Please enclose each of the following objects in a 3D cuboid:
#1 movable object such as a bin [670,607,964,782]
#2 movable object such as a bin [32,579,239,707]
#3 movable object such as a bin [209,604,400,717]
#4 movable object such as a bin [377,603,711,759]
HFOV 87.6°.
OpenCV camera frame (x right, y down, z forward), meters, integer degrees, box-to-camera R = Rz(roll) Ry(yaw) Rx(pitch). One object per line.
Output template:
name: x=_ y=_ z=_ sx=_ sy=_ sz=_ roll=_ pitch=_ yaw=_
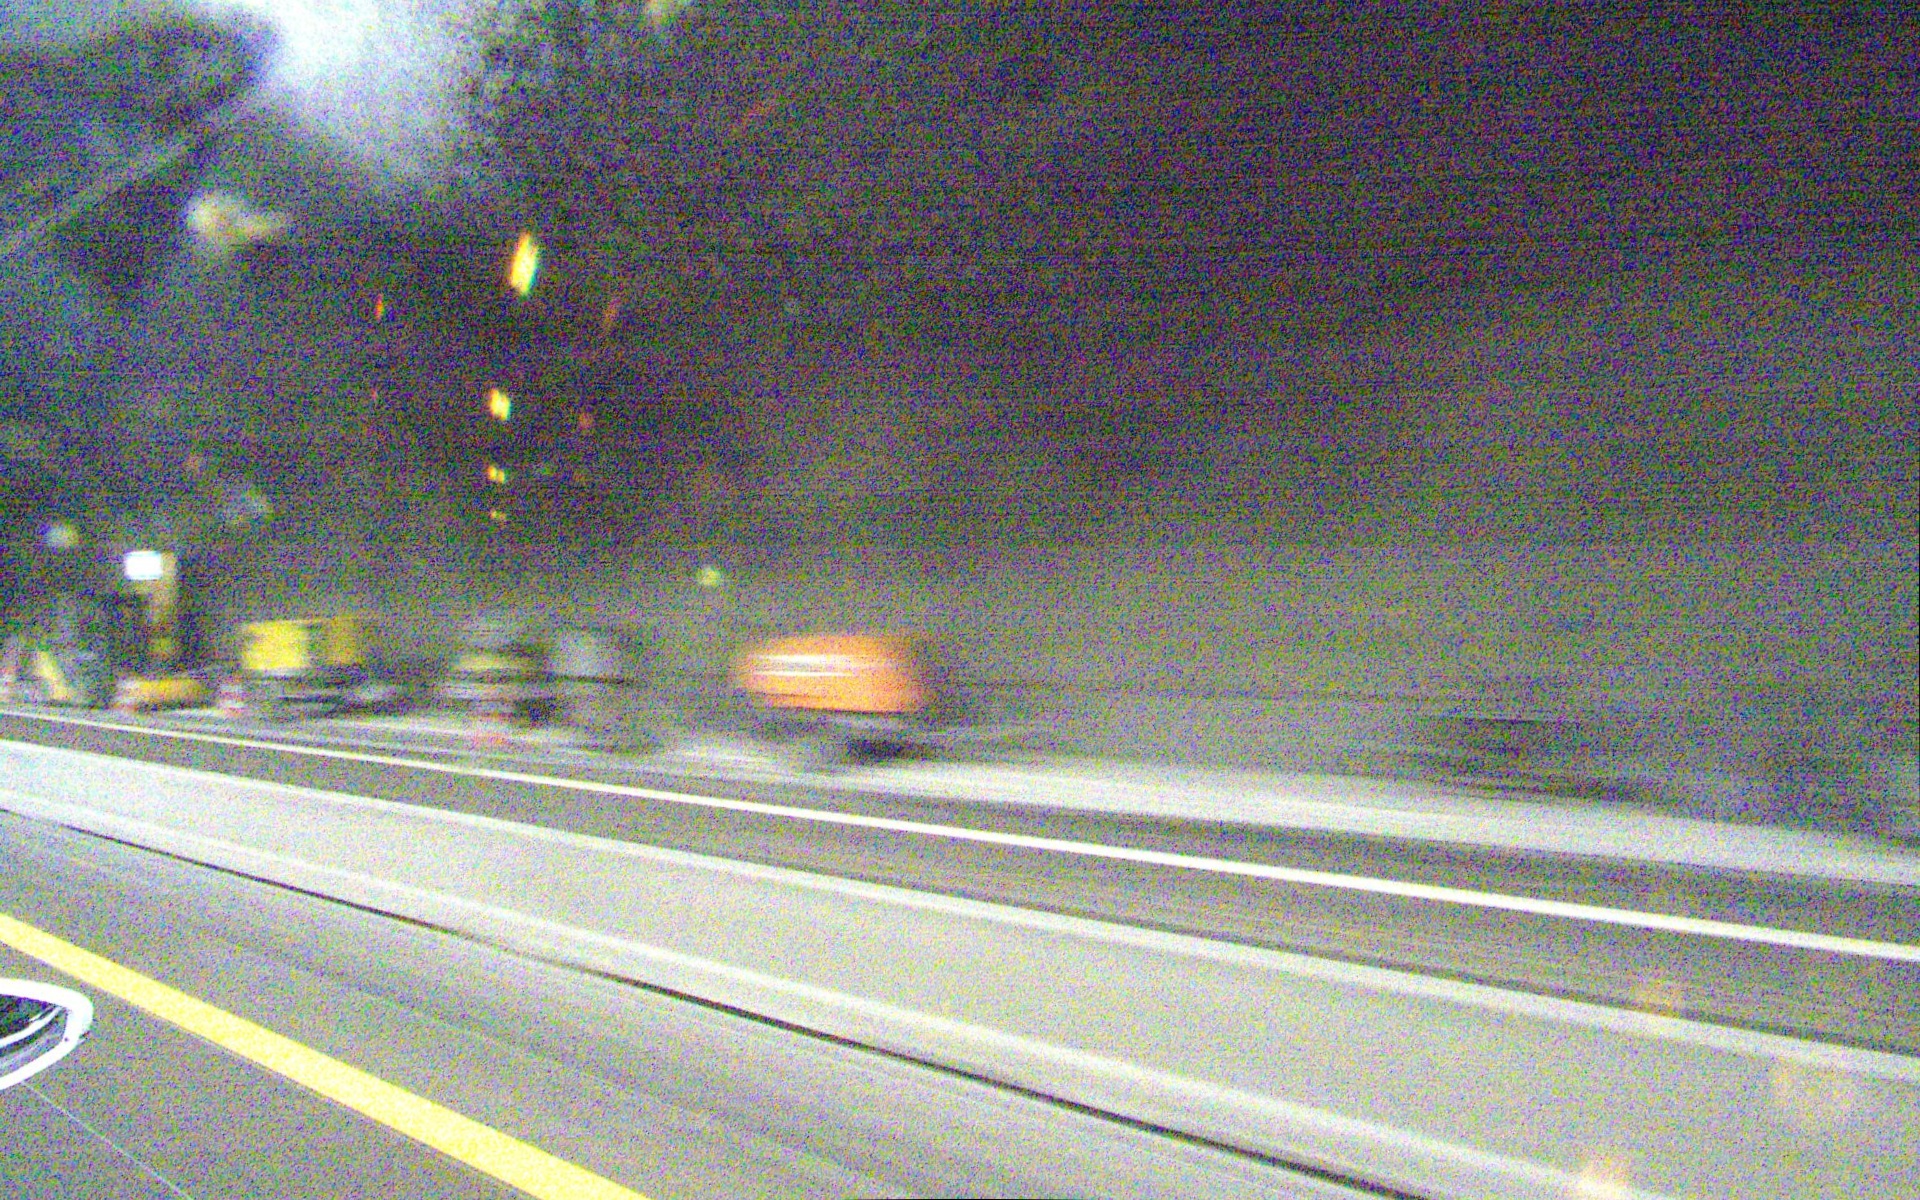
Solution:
movable object such as a bin: x=-1.594 y=0.917 z=10.935 sx=3.011 sy=1.616 sz=1.299 roll=0 pitch=3 yaw=32
movable object such as a bin: x=-15.683 y=0.802 z=18.992 sx=4.561 sy=2.173 sz=1.681 roll=-1 pitch=-2 yaw=32
movable object such as a bin: x=-10.942 y=0.968 z=16.691 sx=3.011 sy=1.731 sz=1.553 roll=-1 pitch=-2 yaw=32
movable object such as a bin: x=-5.639 y=0.943 z=13.426 sx=4.436 sy=1.698 sz=1.855 roll=0 pitch=3 yaw=32
